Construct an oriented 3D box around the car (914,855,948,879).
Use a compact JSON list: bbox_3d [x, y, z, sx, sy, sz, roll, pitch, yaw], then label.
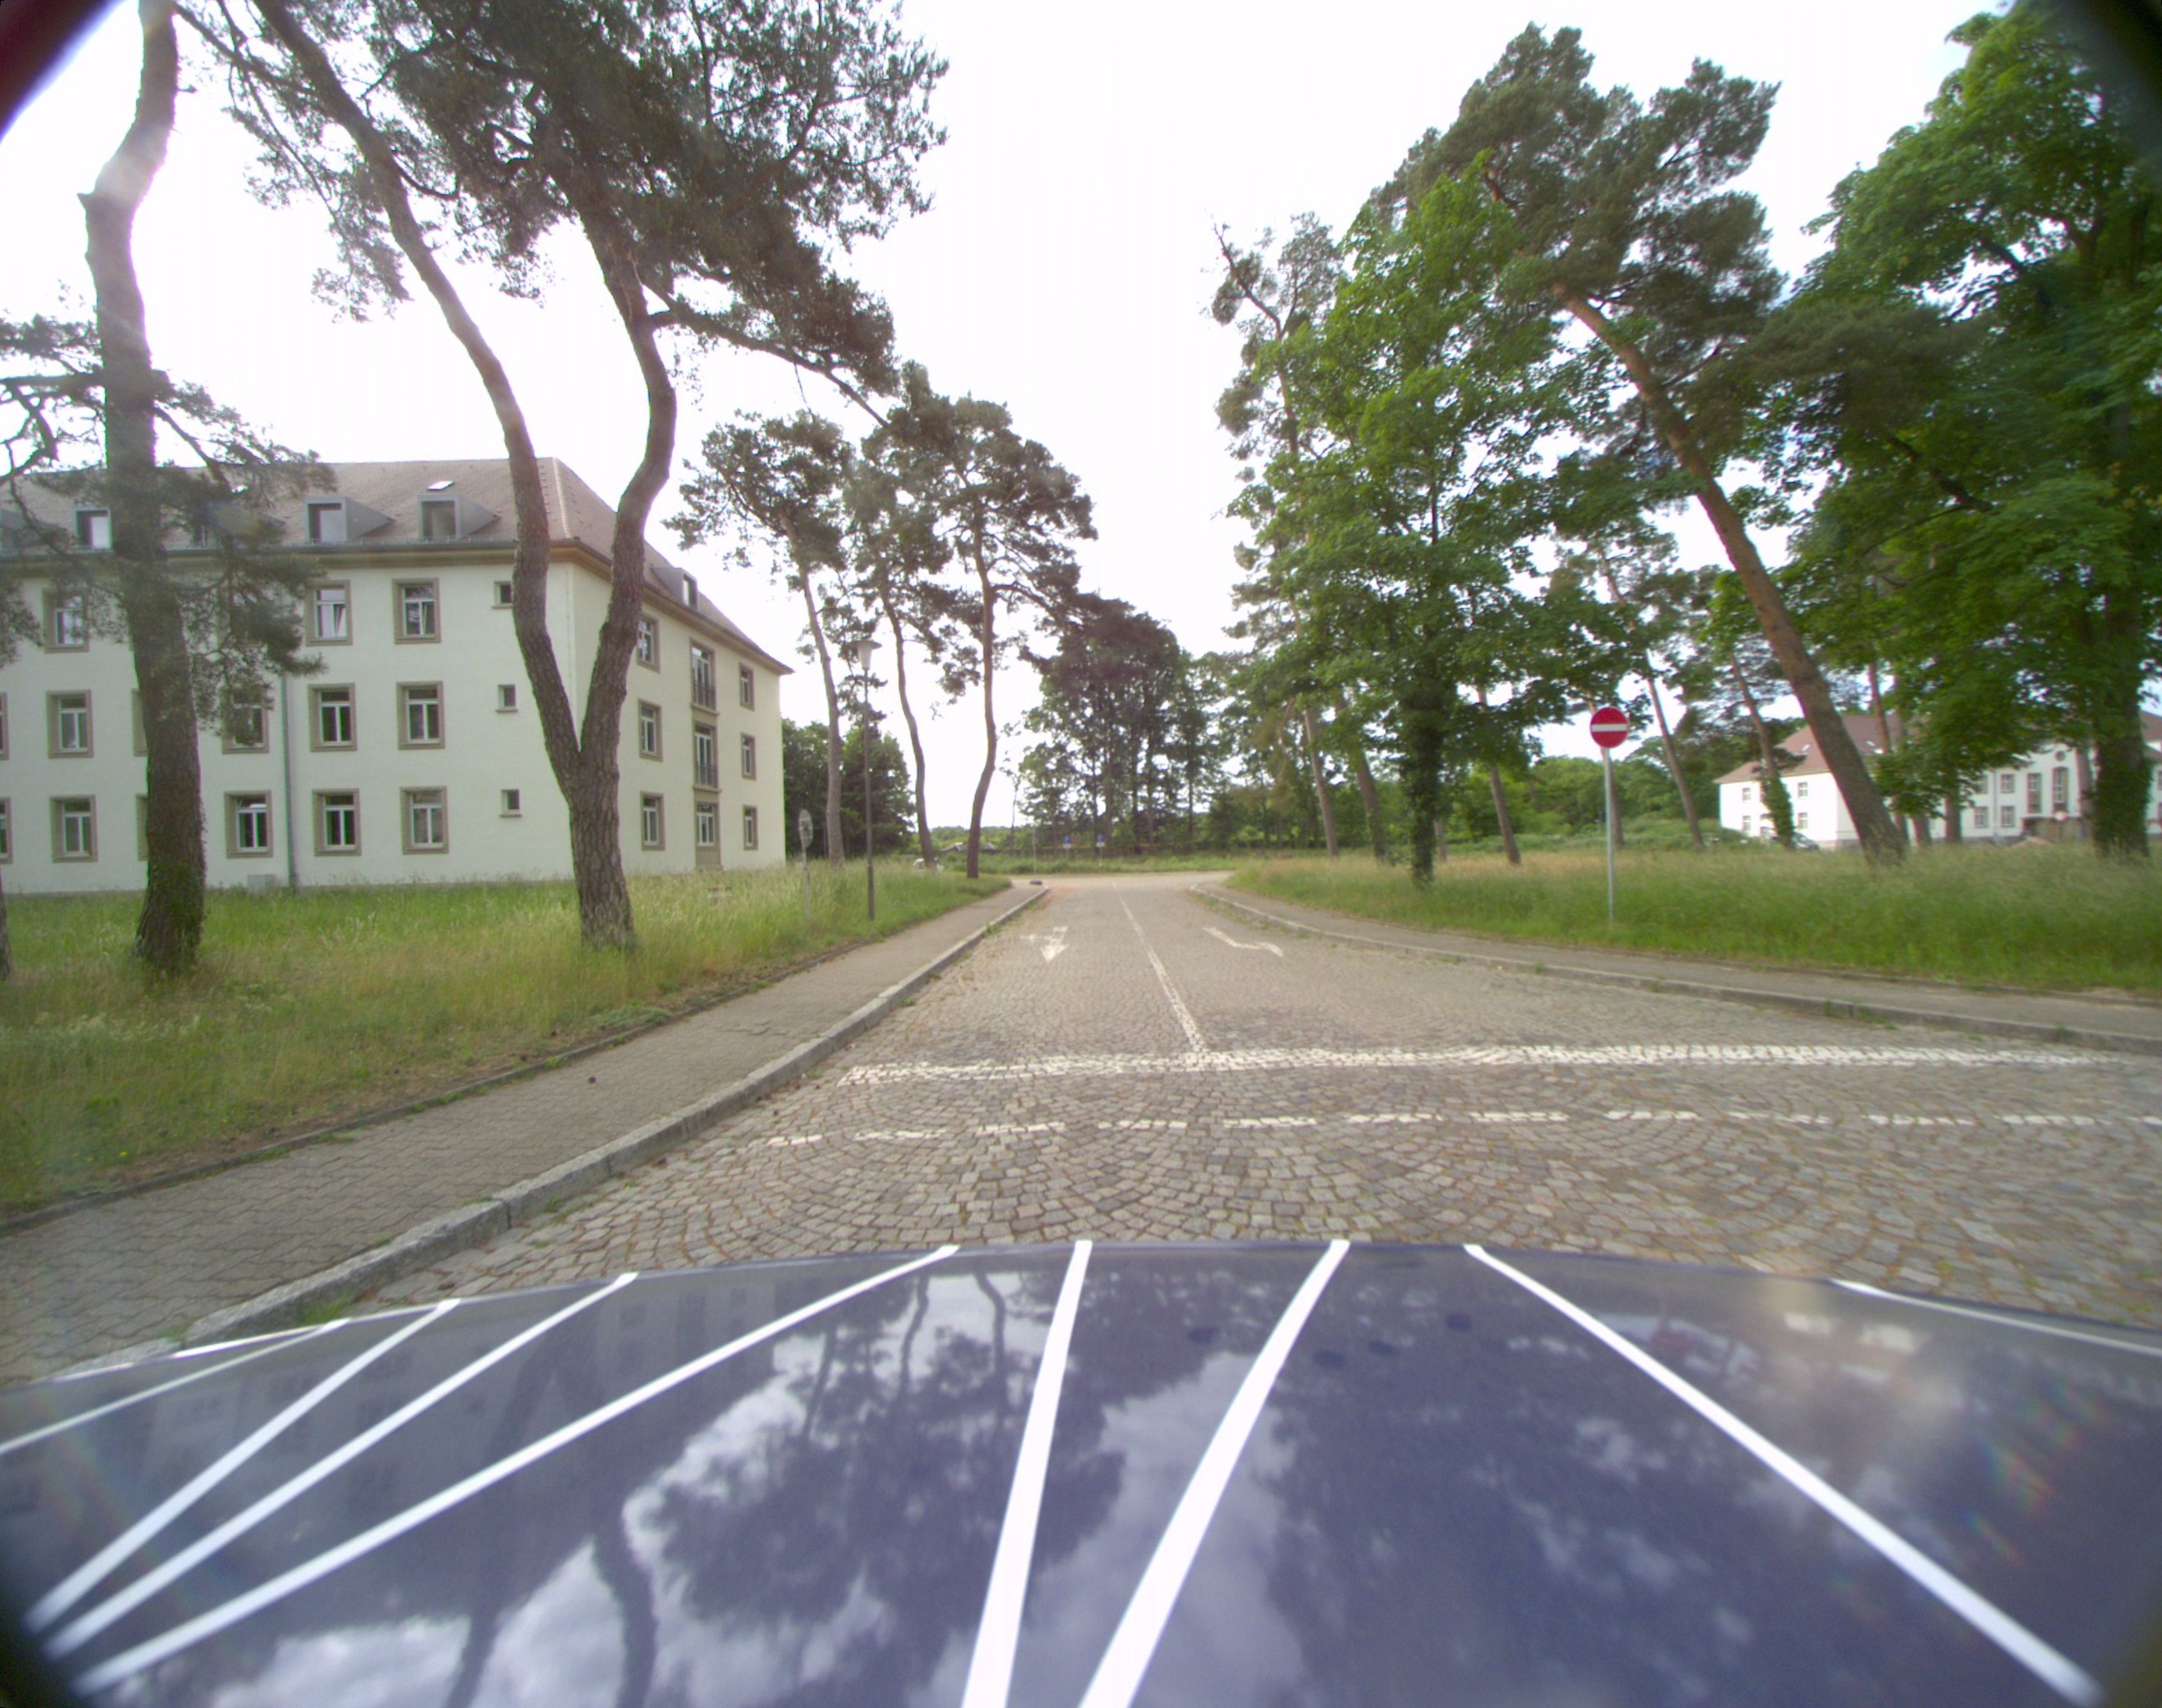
[{"bbox_3d":[-10.472,0.884,53.290,1.641,1.426,3.277,-1,3,2],"label":"car"}]
